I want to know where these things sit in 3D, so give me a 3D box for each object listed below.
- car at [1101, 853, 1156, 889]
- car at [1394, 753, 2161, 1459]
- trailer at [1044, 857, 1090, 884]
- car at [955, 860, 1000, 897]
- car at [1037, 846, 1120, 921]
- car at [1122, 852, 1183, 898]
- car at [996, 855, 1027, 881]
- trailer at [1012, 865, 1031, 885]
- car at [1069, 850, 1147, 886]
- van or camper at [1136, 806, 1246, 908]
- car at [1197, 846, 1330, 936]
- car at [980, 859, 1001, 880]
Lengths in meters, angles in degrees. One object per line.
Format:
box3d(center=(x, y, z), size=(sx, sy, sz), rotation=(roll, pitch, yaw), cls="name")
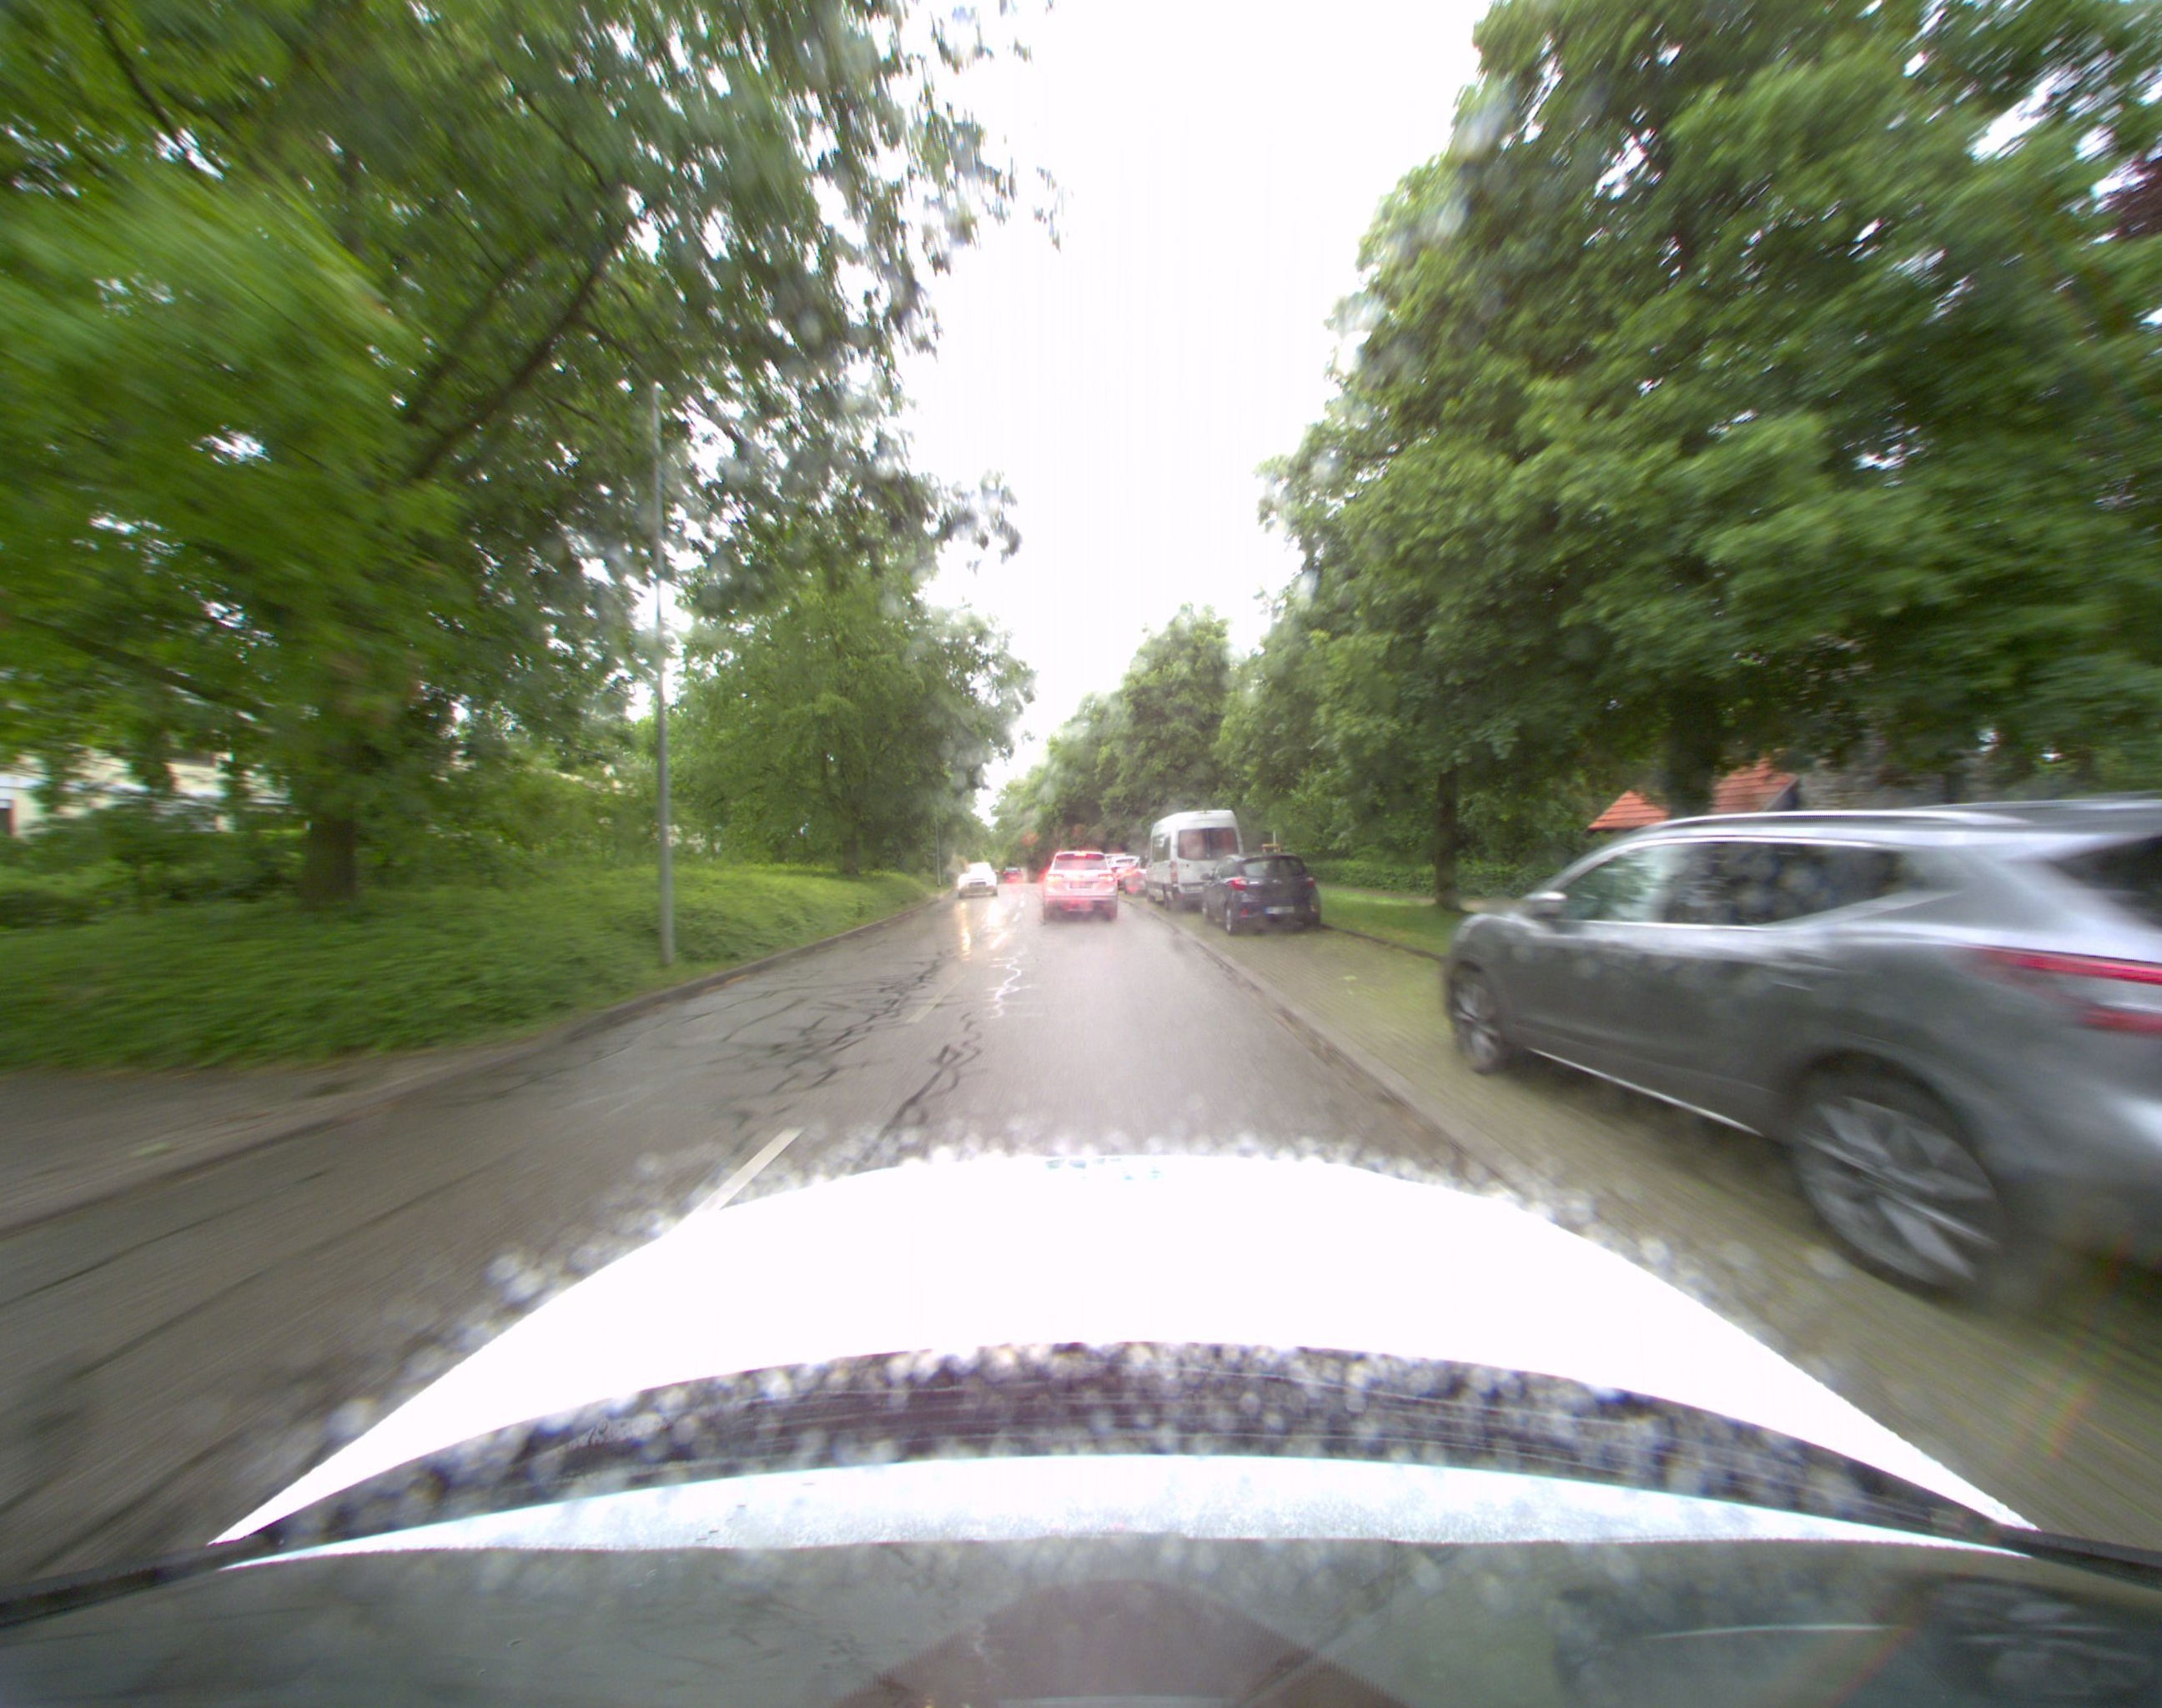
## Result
box3d(center=(2.122, 0.749, 37.737), size=(1.990, 1.497, 4.560), rotation=(-2, 0, -4), cls="car")
box3d(center=(3.427, 0.529, 4.144), size=(1.777, 1.719, 4.258), rotation=(-6, 1, -2), cls="car")
box3d(center=(-1.113, 1.278, 60.283), size=(2.449, 1.813, 5.871), rotation=(-3, -2, -10), cls="trailer")
box3d(center=(-4.608, 1.062, 36.827), size=(1.662, 1.477, 3.727), rotation=(-4, 0, -3), cls="car")
box3d(center=(-0.067, 0.730, 21.130), size=(1.899, 1.685, 4.199), rotation=(-2, -1, 0), cls="car")
box3d(center=(2.695, 0.760, 31.479), size=(1.800, 1.539, 4.265), rotation=(-3, 0, -1), cls="car")
box3d(center=(-5.945, 1.138, 69.145), size=(1.996, 2.013, 3.981), rotation=(-2, 1, -14), cls="car")
box3d(center=(-6.695, 2.374, 91.515), size=(1.530, 2.076, 3.984), rotation=(-3, -3, -10), cls="trailer")
box3d(center=(1.369, 0.762, 43.032), size=(3.956, 1.681, 1.621), rotation=(-4, -1, 43), cls="car")
box3d(center=(3.056, 0.031, 24.792), size=(2.010, 2.583, 8.430), rotation=(0, 1, -2), cls="van or camper")
box3d(center=(3.493, 0.640, 16.281), size=(1.858, 1.511, 3.726), rotation=(-2, 0, 1), cls="car")
box3d(center=(-9.668, 1.587, 86.870), size=(1.994, 2.013, 3.986), rotation=(-2, 1, -10), cls="car")
